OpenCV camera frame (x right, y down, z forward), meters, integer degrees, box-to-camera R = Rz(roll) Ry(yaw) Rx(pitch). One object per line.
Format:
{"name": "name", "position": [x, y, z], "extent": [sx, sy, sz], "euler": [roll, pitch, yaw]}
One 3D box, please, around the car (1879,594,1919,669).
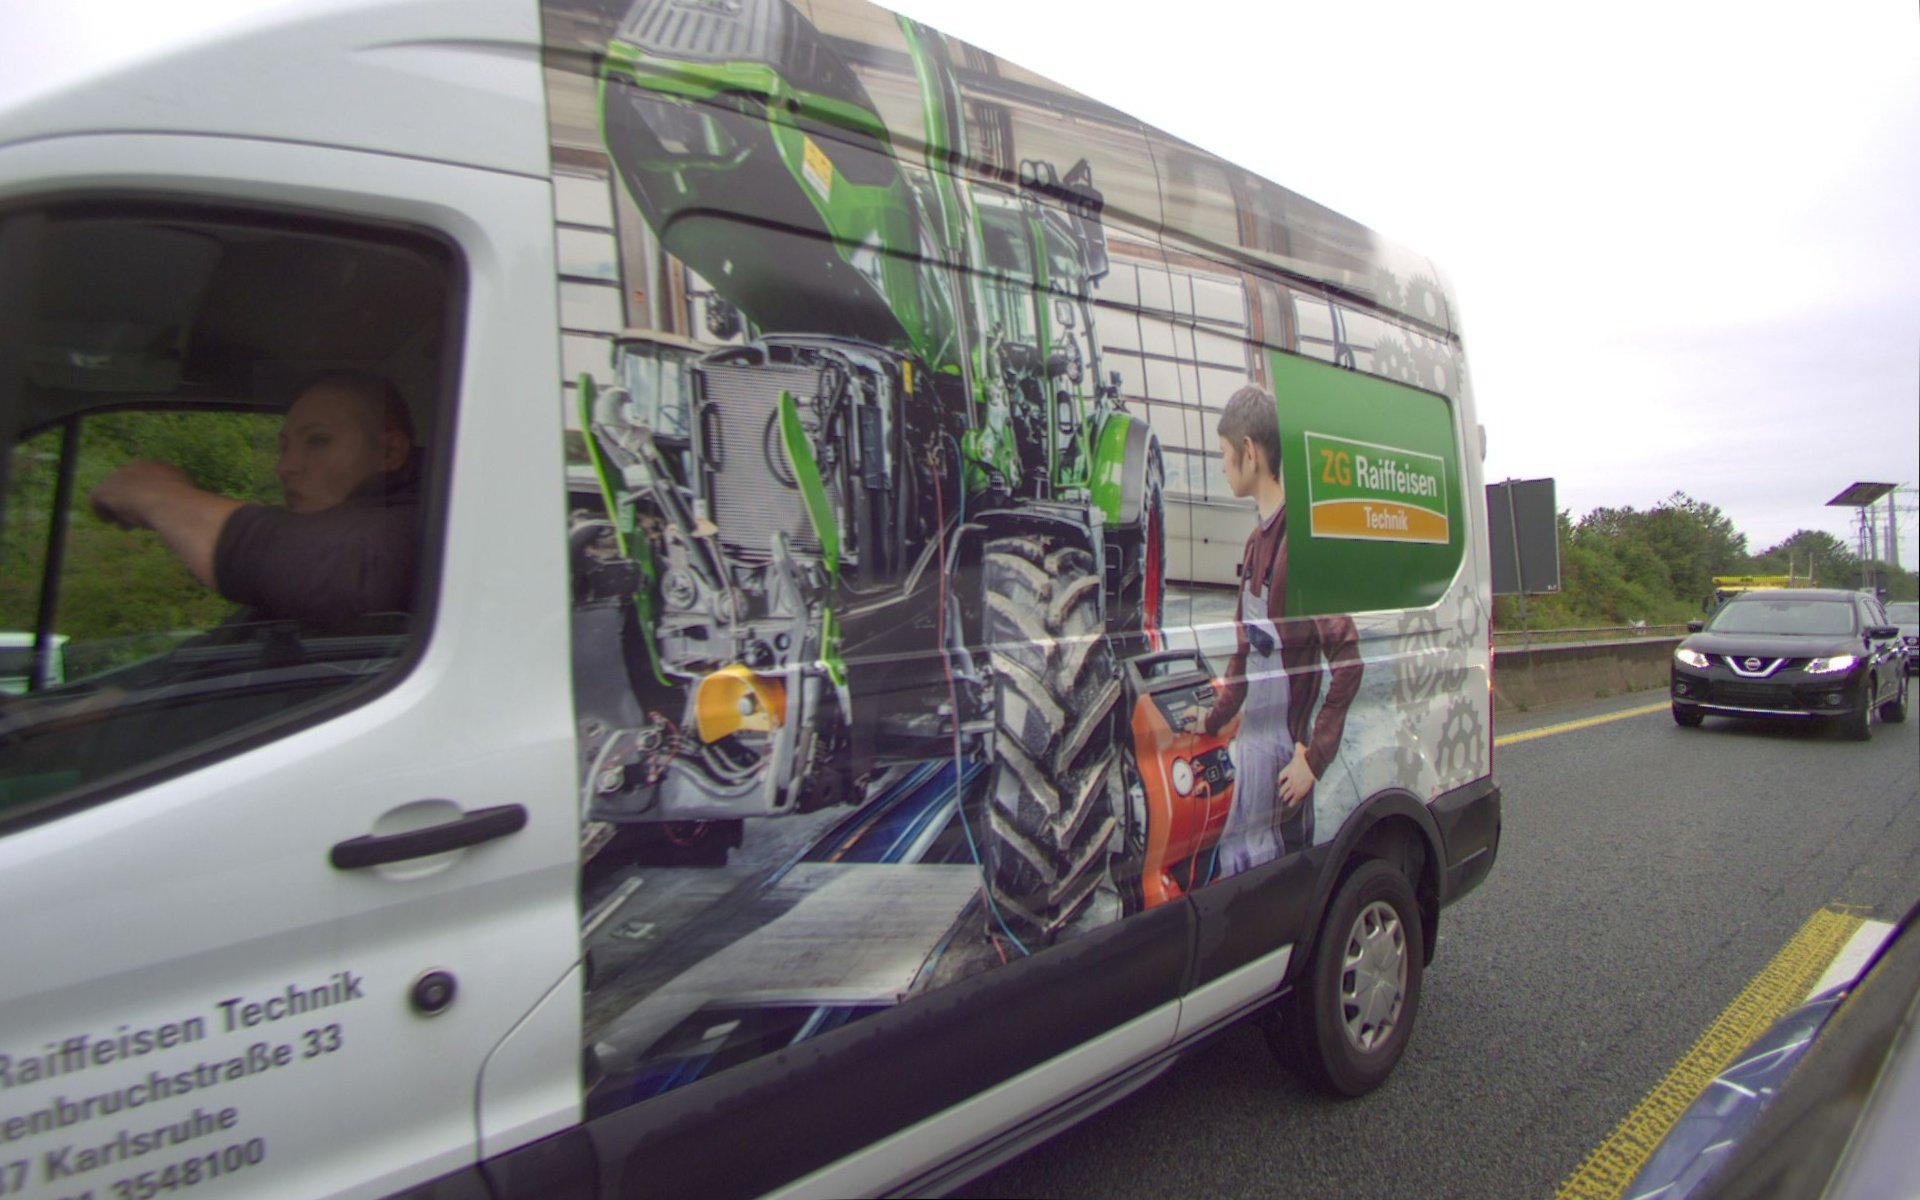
{"name": "car", "position": [21.399, 0.644, 21.936], "extent": [4.053, 1.509, 1.782], "euler": [-1, 0, -42]}

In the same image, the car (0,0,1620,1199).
{"name": "car", "position": [-0.635, 0.010, 2.532], "extent": [6.008, 2.709, 2.149], "euler": [0, 0, -40]}

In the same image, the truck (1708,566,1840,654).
{"name": "truck", "position": [35.412, 0.334, 43.870], "extent": [9.405, 3.467, 2.618], "euler": [0, 0, -40]}

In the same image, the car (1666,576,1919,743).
{"name": "car", "position": [10.516, 0.583, 12.556], "extent": [4.561, 1.696, 1.892], "euler": [-1, 0, -42]}
